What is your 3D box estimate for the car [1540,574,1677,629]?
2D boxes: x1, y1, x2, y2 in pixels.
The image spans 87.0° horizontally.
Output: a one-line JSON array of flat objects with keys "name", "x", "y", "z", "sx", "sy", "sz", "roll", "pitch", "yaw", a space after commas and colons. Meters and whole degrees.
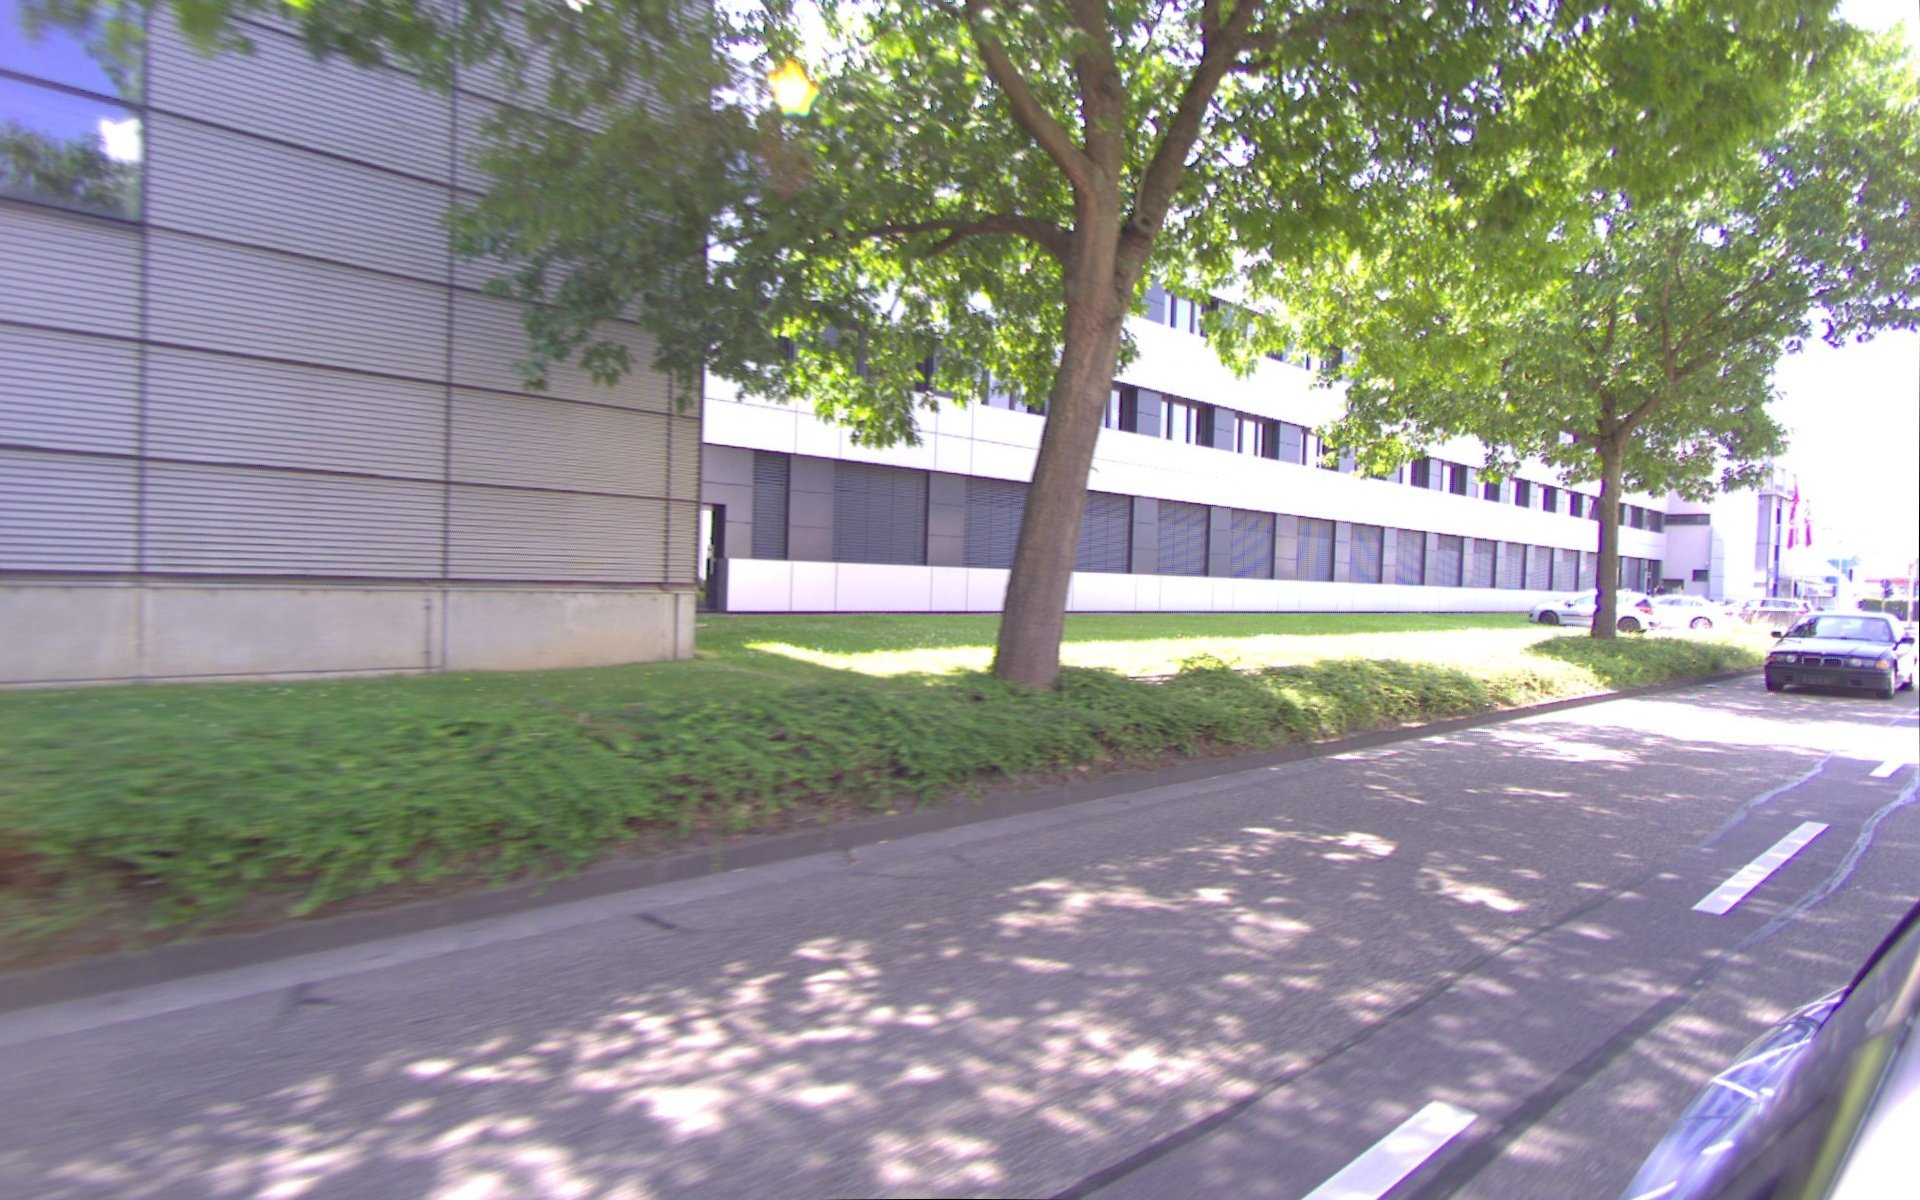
[{"name": "car", "x": 23.418, "y": 0.026, "z": 36.612, "sx": 1.704, "sy": 1.611, "sz": 3.817, "roll": 0, "pitch": 5, "yaw": -45}]

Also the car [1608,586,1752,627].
[{"name": "car", "x": 29.921, "y": 0.230, "z": 42.165, "sx": 4.617, "sy": 1.407, "sz": 1.968, "roll": 5, "pitch": 3, "yaw": 45}]

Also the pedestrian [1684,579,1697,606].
[{"name": "pedestrian", "x": 45.649, "y": -0.464, "z": 63.250, "sx": 0.519, "sy": 1.683, "sz": 0.748, "roll": 3, "pitch": 2, "yaw": 31}]

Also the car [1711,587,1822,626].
[{"name": "car", "x": 41.729, "y": 0.312, "z": 52.403, "sx": 1.967, "sy": 1.709, "sz": 4.263, "roll": 0, "pitch": 3, "yaw": -45}]

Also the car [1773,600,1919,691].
[{"name": "car", "x": 15.444, "y": 0.725, "z": 17.356, "sx": 3.689, "sy": 1.356, "sz": 1.631, "roll": 1, "pitch": 0, "yaw": -40}]

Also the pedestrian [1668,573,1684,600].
[{"name": "pedestrian", "x": 44.408, "y": -0.843, "z": 62.803, "sx": 0.513, "sy": 1.654, "sz": 0.595, "roll": 2, "pitch": 2, "yaw": -32}]
